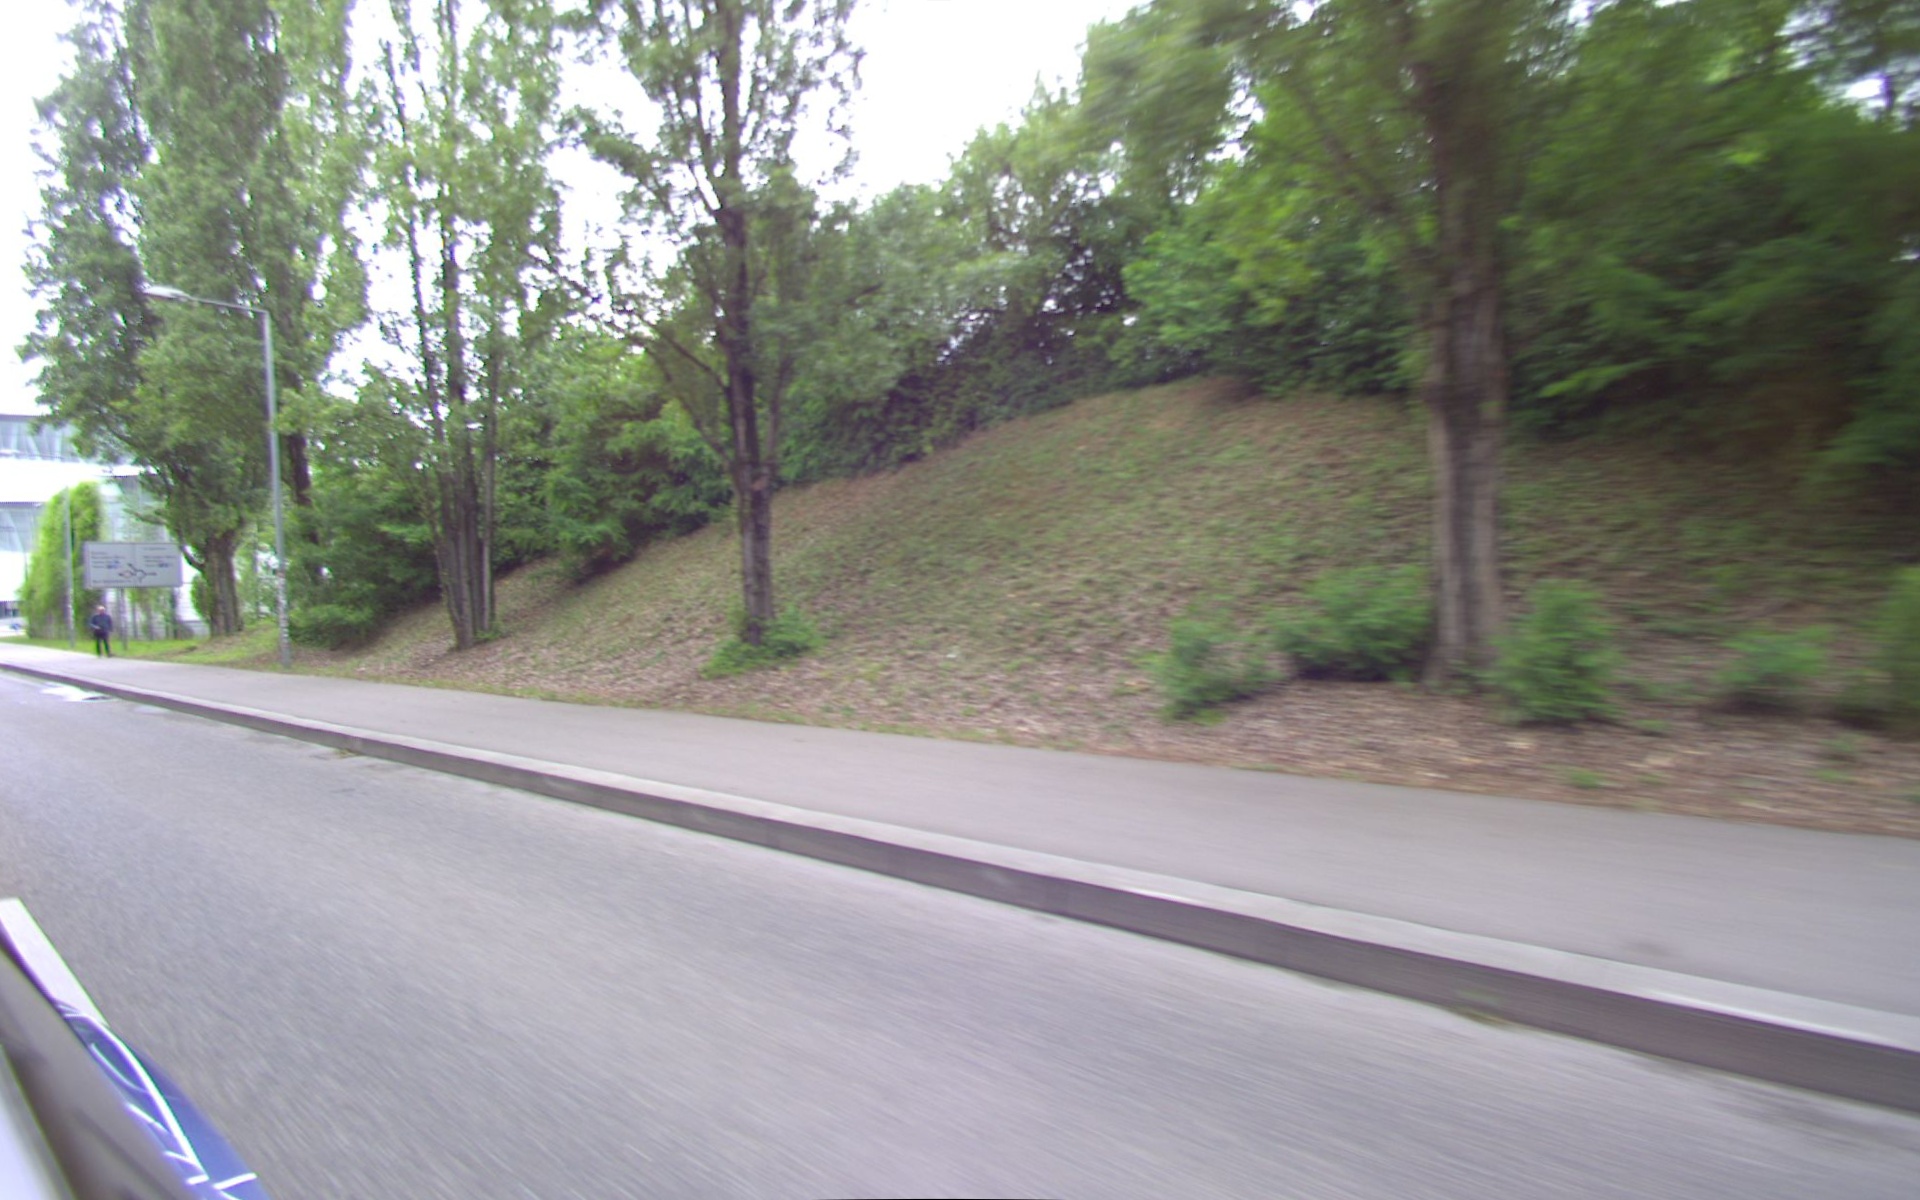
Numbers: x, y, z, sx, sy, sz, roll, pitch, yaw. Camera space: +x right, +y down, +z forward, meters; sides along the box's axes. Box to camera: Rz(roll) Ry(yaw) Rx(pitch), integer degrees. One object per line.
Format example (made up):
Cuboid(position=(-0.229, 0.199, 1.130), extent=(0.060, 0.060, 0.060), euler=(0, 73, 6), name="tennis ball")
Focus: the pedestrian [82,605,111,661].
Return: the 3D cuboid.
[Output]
Cuboid(position=(-29.972, 1.137, 35.121), extent=(0.736, 1.908, 0.654), euler=(-1, 0, 41), name="pedestrian")
